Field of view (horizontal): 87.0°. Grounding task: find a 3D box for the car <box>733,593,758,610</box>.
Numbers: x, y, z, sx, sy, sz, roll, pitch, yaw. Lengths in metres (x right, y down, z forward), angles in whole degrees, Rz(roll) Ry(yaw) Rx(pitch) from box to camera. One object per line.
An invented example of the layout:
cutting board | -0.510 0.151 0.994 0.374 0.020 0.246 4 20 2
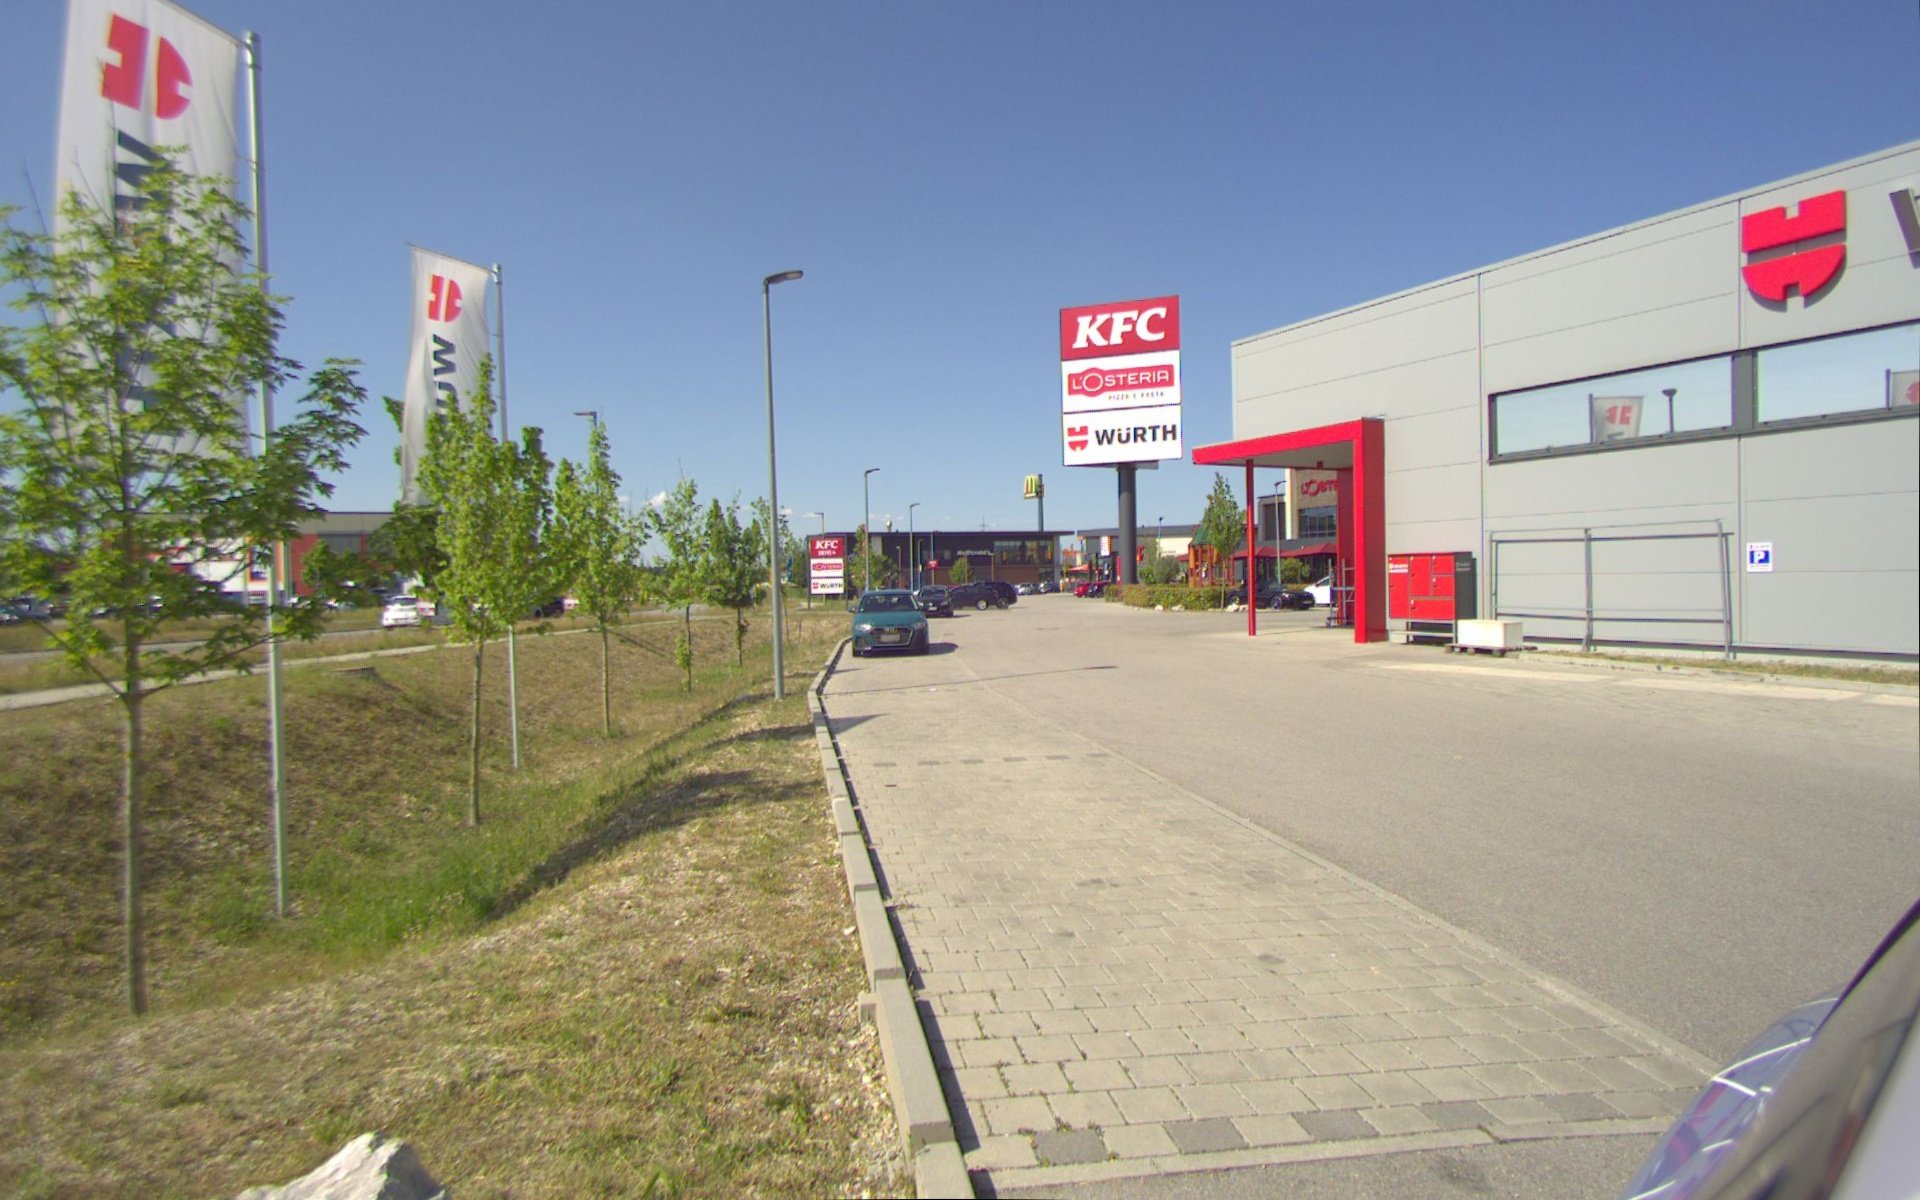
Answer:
car | -21.974 0.147 103.925 1.908 1.570 4.766 -2 1 -5

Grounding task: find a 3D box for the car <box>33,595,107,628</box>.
car | -59.025 0.723 67.216 1.958 2.063 4.494 -2 1 -18

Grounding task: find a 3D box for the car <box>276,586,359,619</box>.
car | -44.503 0.139 70.209 4.394 2.063 2.003 -2 1 -6

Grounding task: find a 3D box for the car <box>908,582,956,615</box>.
car | -1.278 -0.102 47.916 1.844 1.484 4.360 -1 1 4

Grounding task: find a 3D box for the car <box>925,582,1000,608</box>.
car | 0.118 -0.306 61.597 4.445 1.477 2.001 -1 1 -2

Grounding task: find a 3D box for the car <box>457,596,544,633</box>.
car | -22.701 0.672 50.205 1.911 1.570 4.757 -2 1 4

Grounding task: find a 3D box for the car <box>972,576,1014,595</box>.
car | 3.810 -1.735 117.459 4.391 2.039 2.004 -2 1 -19

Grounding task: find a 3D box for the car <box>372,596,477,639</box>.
car | -22.765 0.713 43.252 1.910 1.570 4.761 -2 1 0

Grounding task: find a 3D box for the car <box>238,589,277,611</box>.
car | -70.812 -0.038 102.043 1.958 2.063 4.494 -2 1 -18

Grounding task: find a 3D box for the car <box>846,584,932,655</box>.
car | -1.686 0.380 23.651 1.809 1.468 4.231 -1 1 -5

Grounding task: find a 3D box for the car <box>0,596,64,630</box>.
car | -61.676 0.825 66.857 1.958 2.063 4.494 -2 1 -18

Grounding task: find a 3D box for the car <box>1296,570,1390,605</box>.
car | 17.574 -0.577 46.616 1.766 1.493 3.920 -1 1 -25

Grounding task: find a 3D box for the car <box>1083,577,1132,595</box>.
car | 13.452 -1.295 92.277 4.011 1.585 1.883 -2 1 -18

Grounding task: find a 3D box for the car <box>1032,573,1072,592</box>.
car | 11.110 -2.108 122.502 4.391 2.039 2.004 -2 1 -19

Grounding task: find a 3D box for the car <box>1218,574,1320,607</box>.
car | 13.439 -0.403 44.253 1.795 1.354 4.158 -2 1 -30

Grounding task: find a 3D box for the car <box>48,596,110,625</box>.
car | -68.694 0.807 78.954 1.958 2.063 4.494 -2 1 -18

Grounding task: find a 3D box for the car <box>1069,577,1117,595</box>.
car | 12.446 -1.273 94.822 4.011 1.585 1.883 -2 1 -18

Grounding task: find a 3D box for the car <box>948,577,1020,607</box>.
car | 1.592 -0.515 65.716 4.457 1.858 1.996 -1 1 8

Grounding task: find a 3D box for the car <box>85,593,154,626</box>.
car | -56.365 0.611 67.969 1.958 2.063 4.494 -2 1 -18
